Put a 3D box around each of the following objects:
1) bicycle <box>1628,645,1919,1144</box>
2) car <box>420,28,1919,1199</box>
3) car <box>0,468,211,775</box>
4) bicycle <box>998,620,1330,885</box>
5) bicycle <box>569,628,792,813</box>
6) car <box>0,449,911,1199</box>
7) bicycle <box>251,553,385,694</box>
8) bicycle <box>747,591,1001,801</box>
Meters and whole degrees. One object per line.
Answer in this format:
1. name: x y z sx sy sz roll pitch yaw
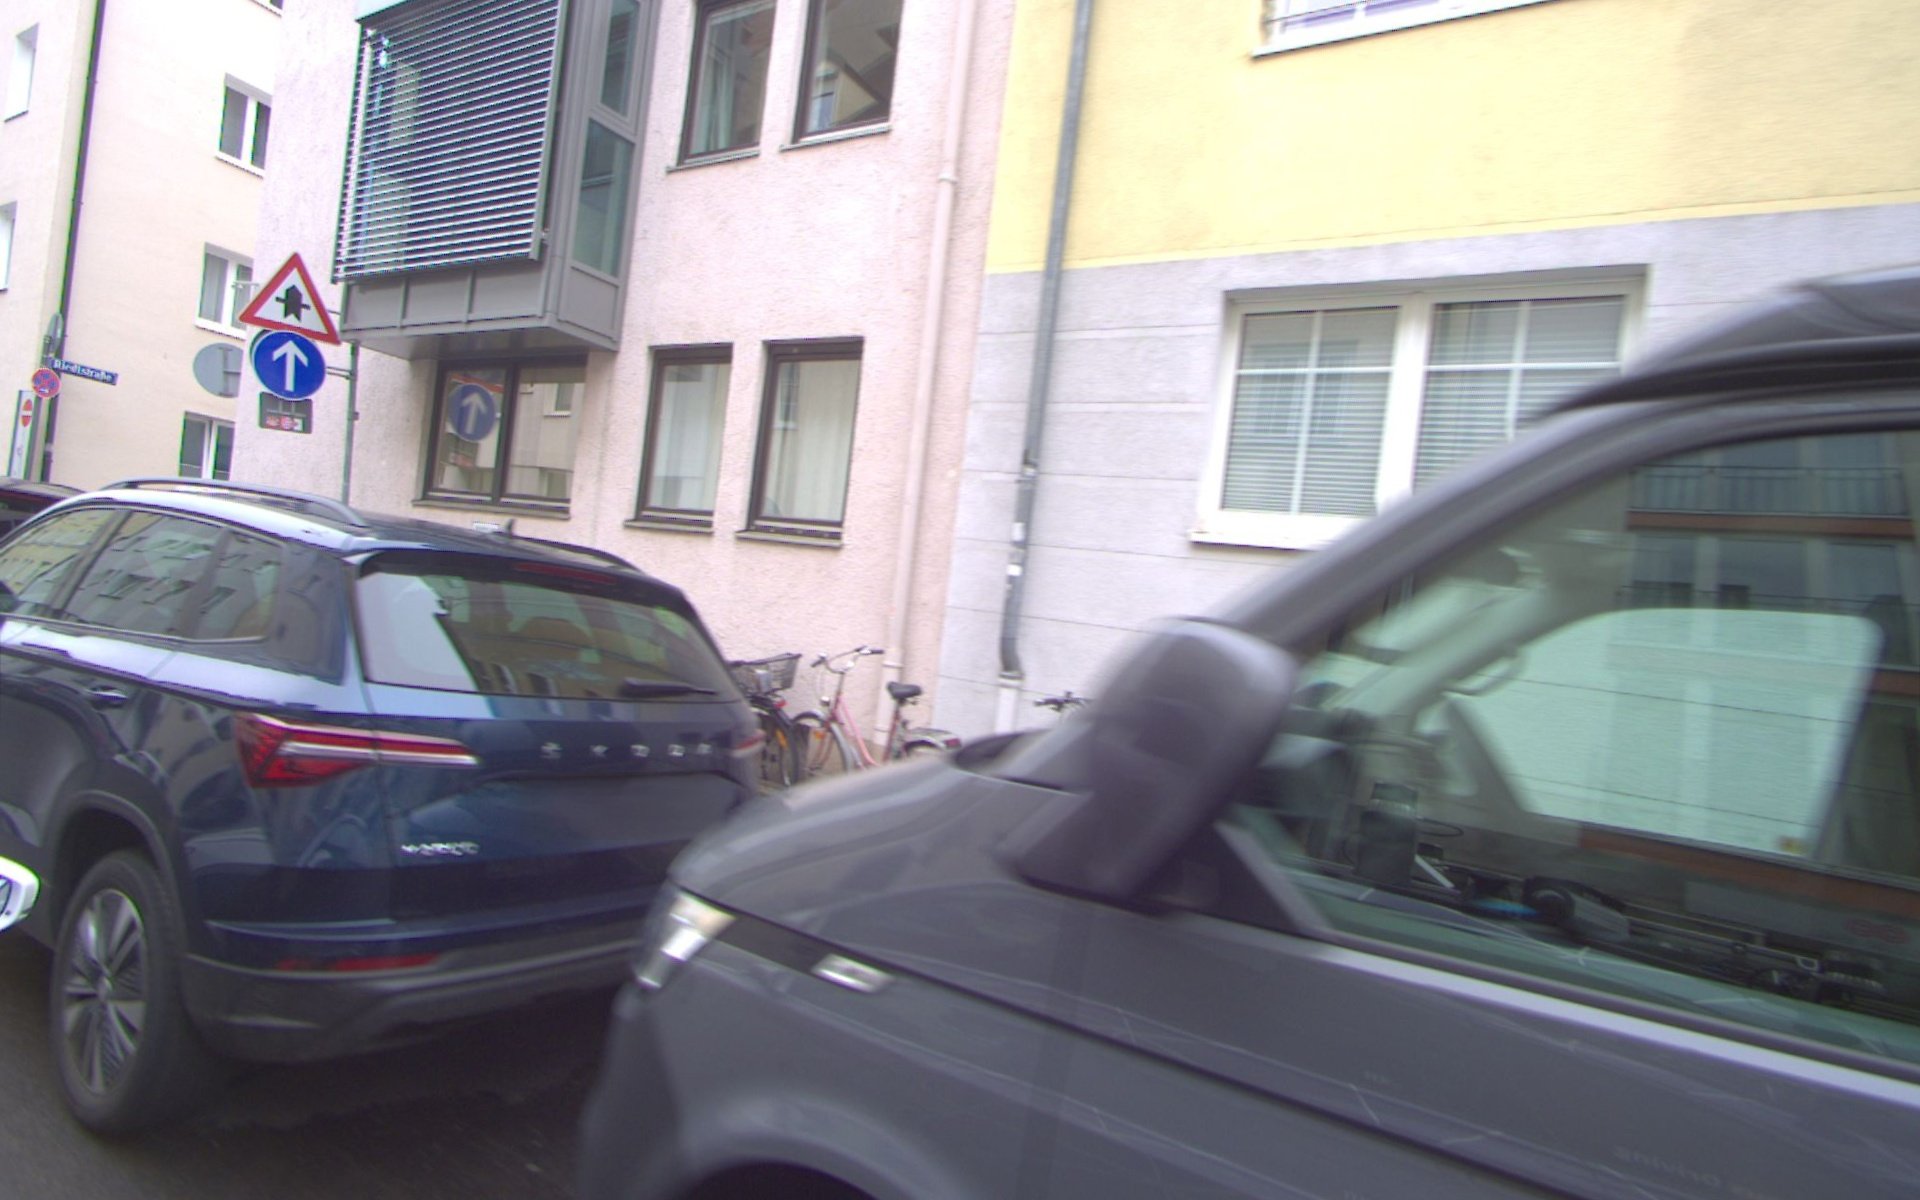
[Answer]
1. bicycle: 3.427 1.047 3.310 1.837 1.489 0.433 10 1 32
2. car: 1.776 0.718 1.185 5.022 2.037 1.877 6 -2 31
3. car: -6.980 -0.080 6.477 4.338 1.640 1.836 6 -2 31
4. bicycle: 0.956 0.680 4.889 1.422 0.988 0.421 7 0 33
5. bicycle: -1.911 0.767 6.776 1.551 0.959 0.441 7 0 33
6. car: -2.535 0.451 3.793 4.251 1.640 1.836 7 -2 31
7. bicycle: -6.018 0.203 9.400 1.517 1.135 0.357 7 0 33
8. bicycle: -0.534 0.524 5.922 1.422 0.988 0.421 7 0 33
